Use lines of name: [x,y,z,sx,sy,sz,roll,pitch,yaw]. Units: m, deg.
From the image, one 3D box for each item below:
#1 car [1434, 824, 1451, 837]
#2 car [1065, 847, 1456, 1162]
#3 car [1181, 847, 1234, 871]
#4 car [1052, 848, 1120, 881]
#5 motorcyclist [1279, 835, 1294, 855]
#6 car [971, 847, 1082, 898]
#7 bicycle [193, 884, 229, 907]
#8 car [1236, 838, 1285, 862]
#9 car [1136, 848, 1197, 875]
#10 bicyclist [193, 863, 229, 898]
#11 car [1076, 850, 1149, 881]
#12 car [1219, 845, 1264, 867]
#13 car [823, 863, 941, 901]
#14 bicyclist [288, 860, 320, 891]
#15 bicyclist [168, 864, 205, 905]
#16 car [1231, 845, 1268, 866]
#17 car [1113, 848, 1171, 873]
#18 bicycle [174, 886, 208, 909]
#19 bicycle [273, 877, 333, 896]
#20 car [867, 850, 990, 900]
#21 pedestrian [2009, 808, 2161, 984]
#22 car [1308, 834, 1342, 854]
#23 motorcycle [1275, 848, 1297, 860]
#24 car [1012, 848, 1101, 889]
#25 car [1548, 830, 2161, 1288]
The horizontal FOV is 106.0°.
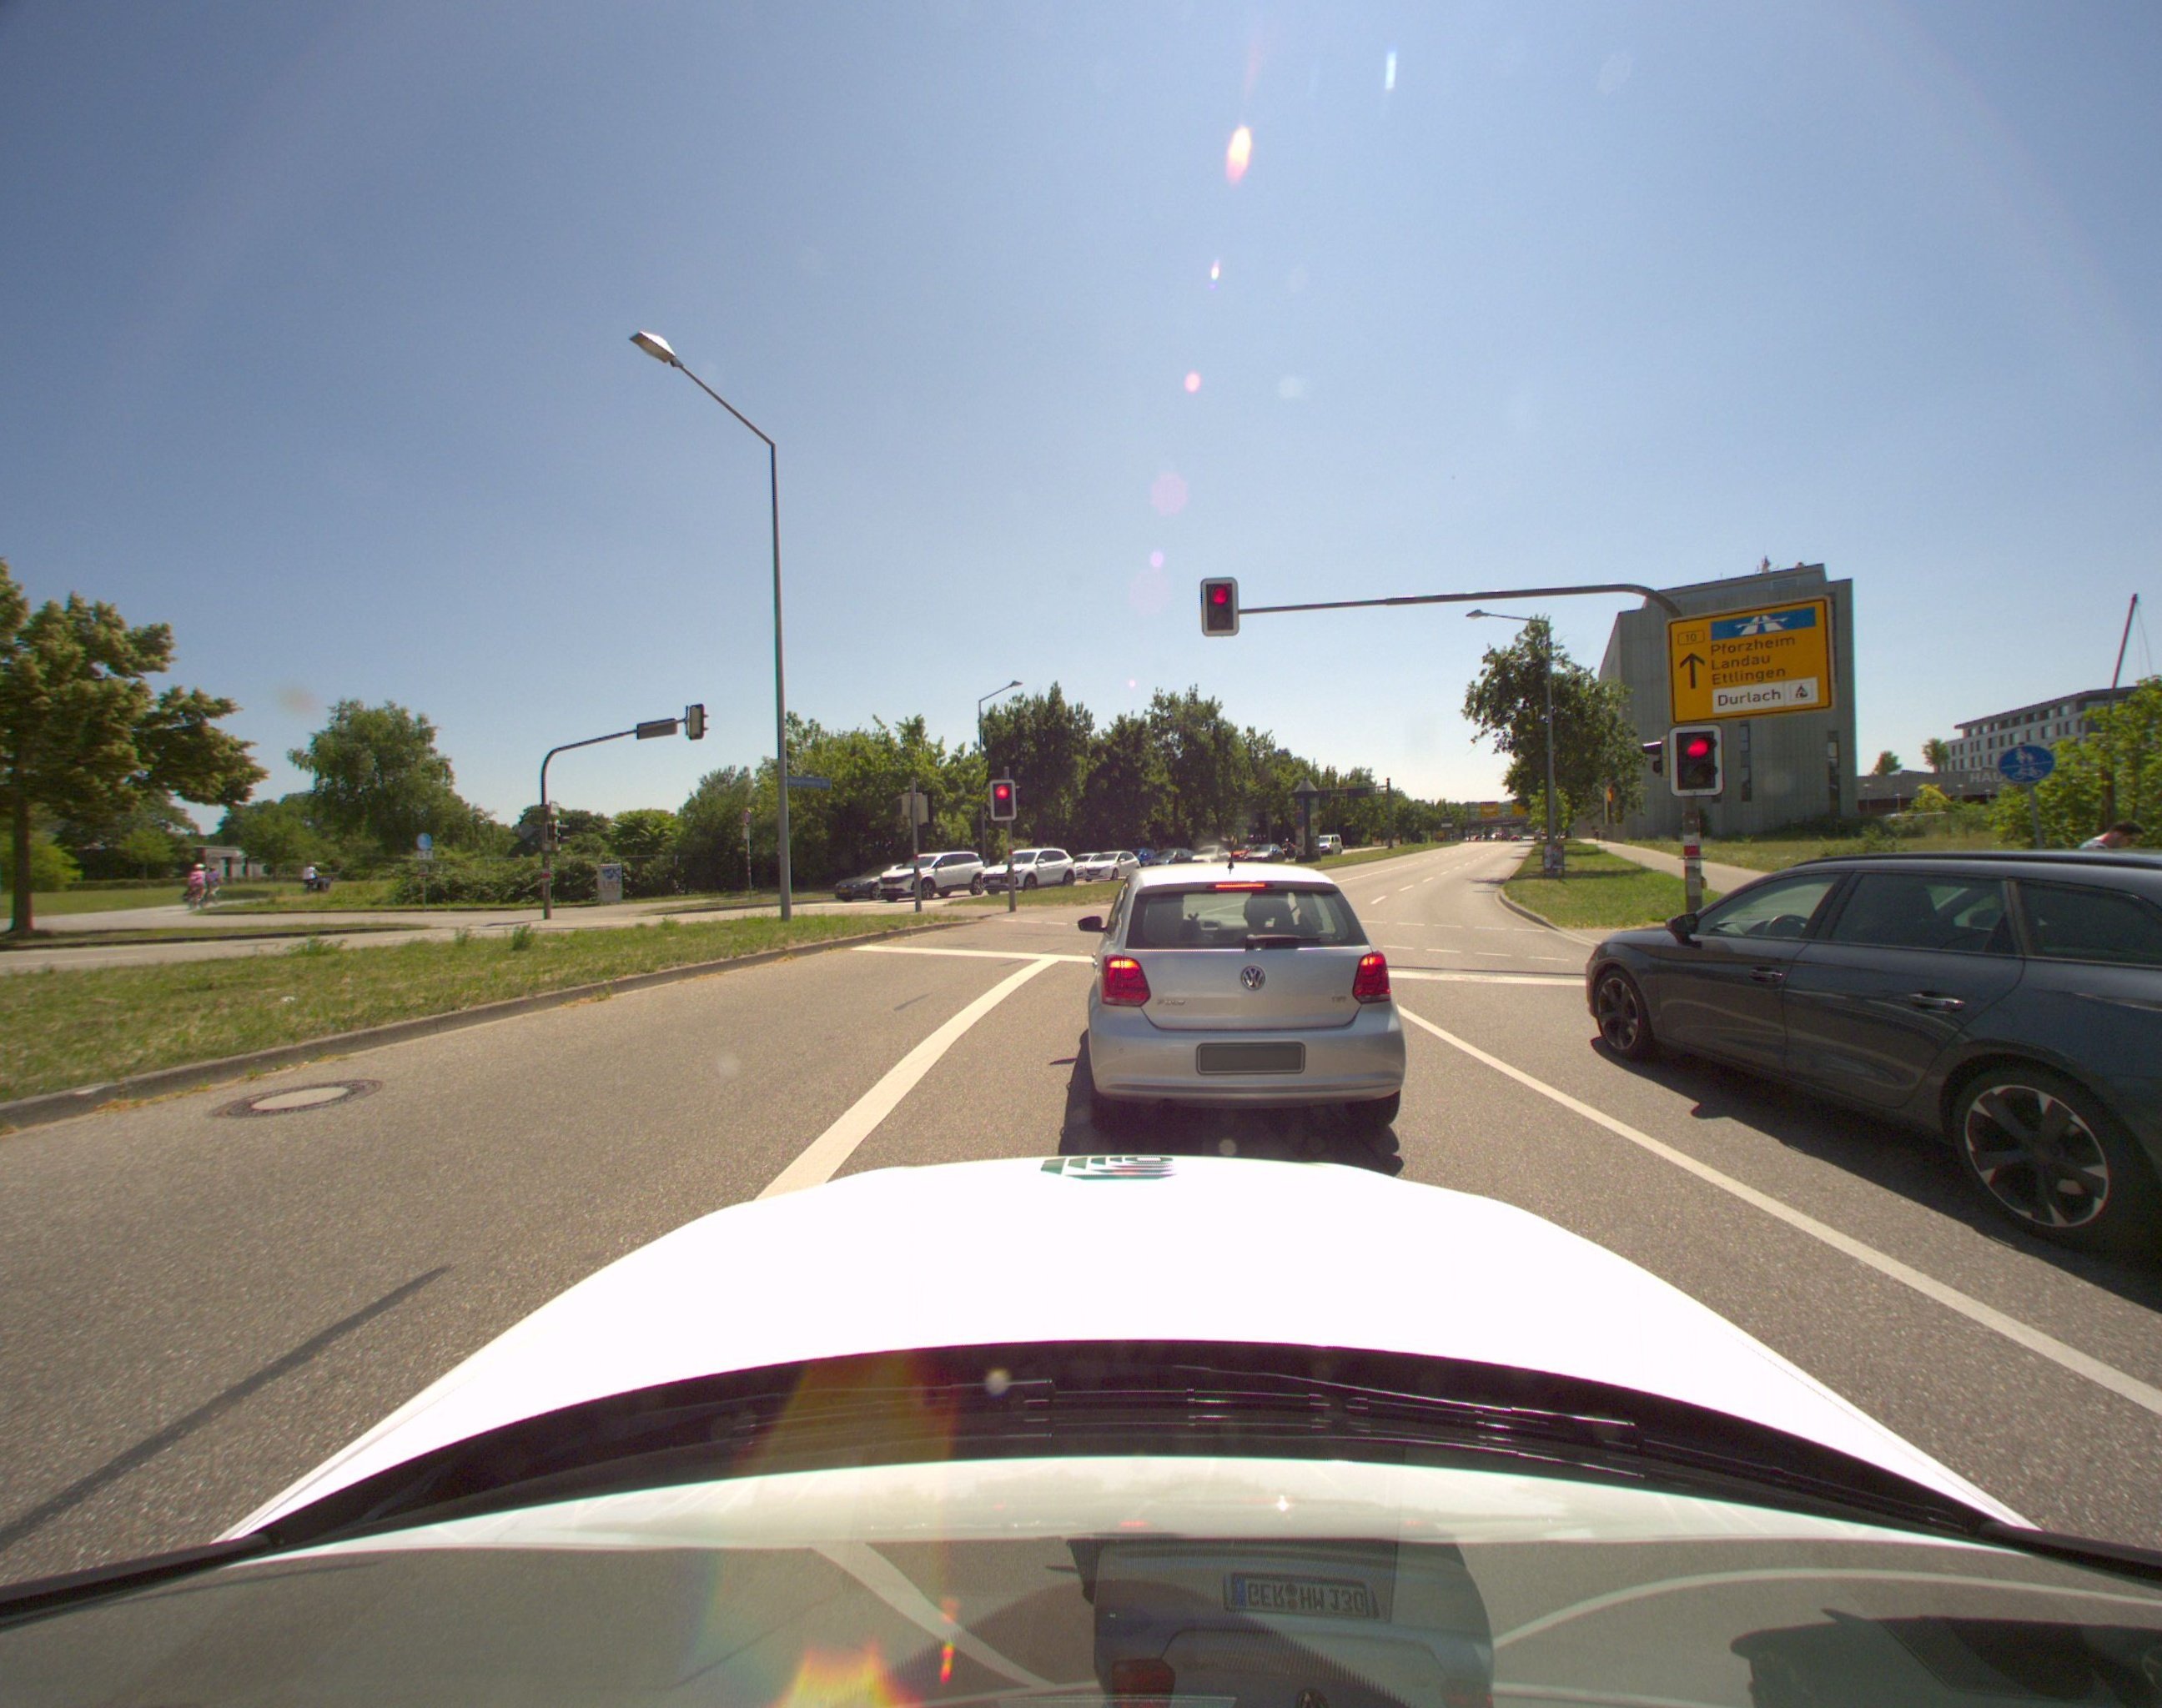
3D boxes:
car: [52.046,-3.371,117.207,1.783,1.692,4.168,-3,-1,31]
car: [0.954,0.693,5.797,1.768,1.422,4.004,-2,1,3]
car: [8.379,0.288,53.645,1.840,1.422,4.436,-2,0,31]
car: [0.345,0.564,46.293,1.840,1.683,4.436,-2,0,31]
motorcyclist: [17.447,-0.749,69.092,0.897,1.586,1.016,-3,-1,32]
car: [-1.923,0.621,30.093,1.840,1.683,4.436,-2,0,31]
bicycle: [-39.455,1.875,36.942,0.903,0.900,1.742,0,0,-40]
car: [11.939,-0.273,54.002,1.951,1.488,4.025,-1,0,30]
car: [5.097,0.399,47.809,1.840,1.422,4.436,-2,0,31]
bicyclist: [-39.527,1.182,37.005,0.965,1.531,1.172,-2,1,-41]
car: [1.711,0.563,42.111,1.840,1.422,4.436,-2,0,31]
car: [11.853,0.127,59.915,1.840,1.422,4.436,-2,0,31]
car: [-7.692,1.058,31.895,1.840,1.270,4.436,-2,0,31]
bicyclist: [-41.016,1.140,42.979,0.753,1.614,0.975,-2,-1,-9]
bicyclist: [-36.771,1.257,33.497,1.171,1.610,0.966,-3,-1,44]
car: [13.275,0.096,64.012,1.699,1.475,3.821,-3,-1,29]
car: [3.903,0.372,51.751,1.840,1.422,4.436,-2,0,31]
bicycle: [-36.820,1.801,33.712,2.198,0.900,0.904,-3,-2,44]
bicycle: [-40.999,1.722,42.965,0.738,0.912,2.920,-3,-1,-9]
car: [-5.376,0.704,29.297,1.840,1.618,4.436,-2,0,31]
pedestrian: [10.077,0.399,8.038,0.944,1.637,0.762,-3,-1,31]
car: [20.421,-0.822,68.086,1.845,1.554,4.025,-1,0,29]
motorcycle: [17.402,-0.037,68.953,0.886,0.952,2.834,-3,-1,33]
car: [-1.027,0.609,36.590,1.840,1.683,4.436,-2,0,31]
car: [4.527,0.616,4.167,1.984,1.418,4.461,-2,1,4]
